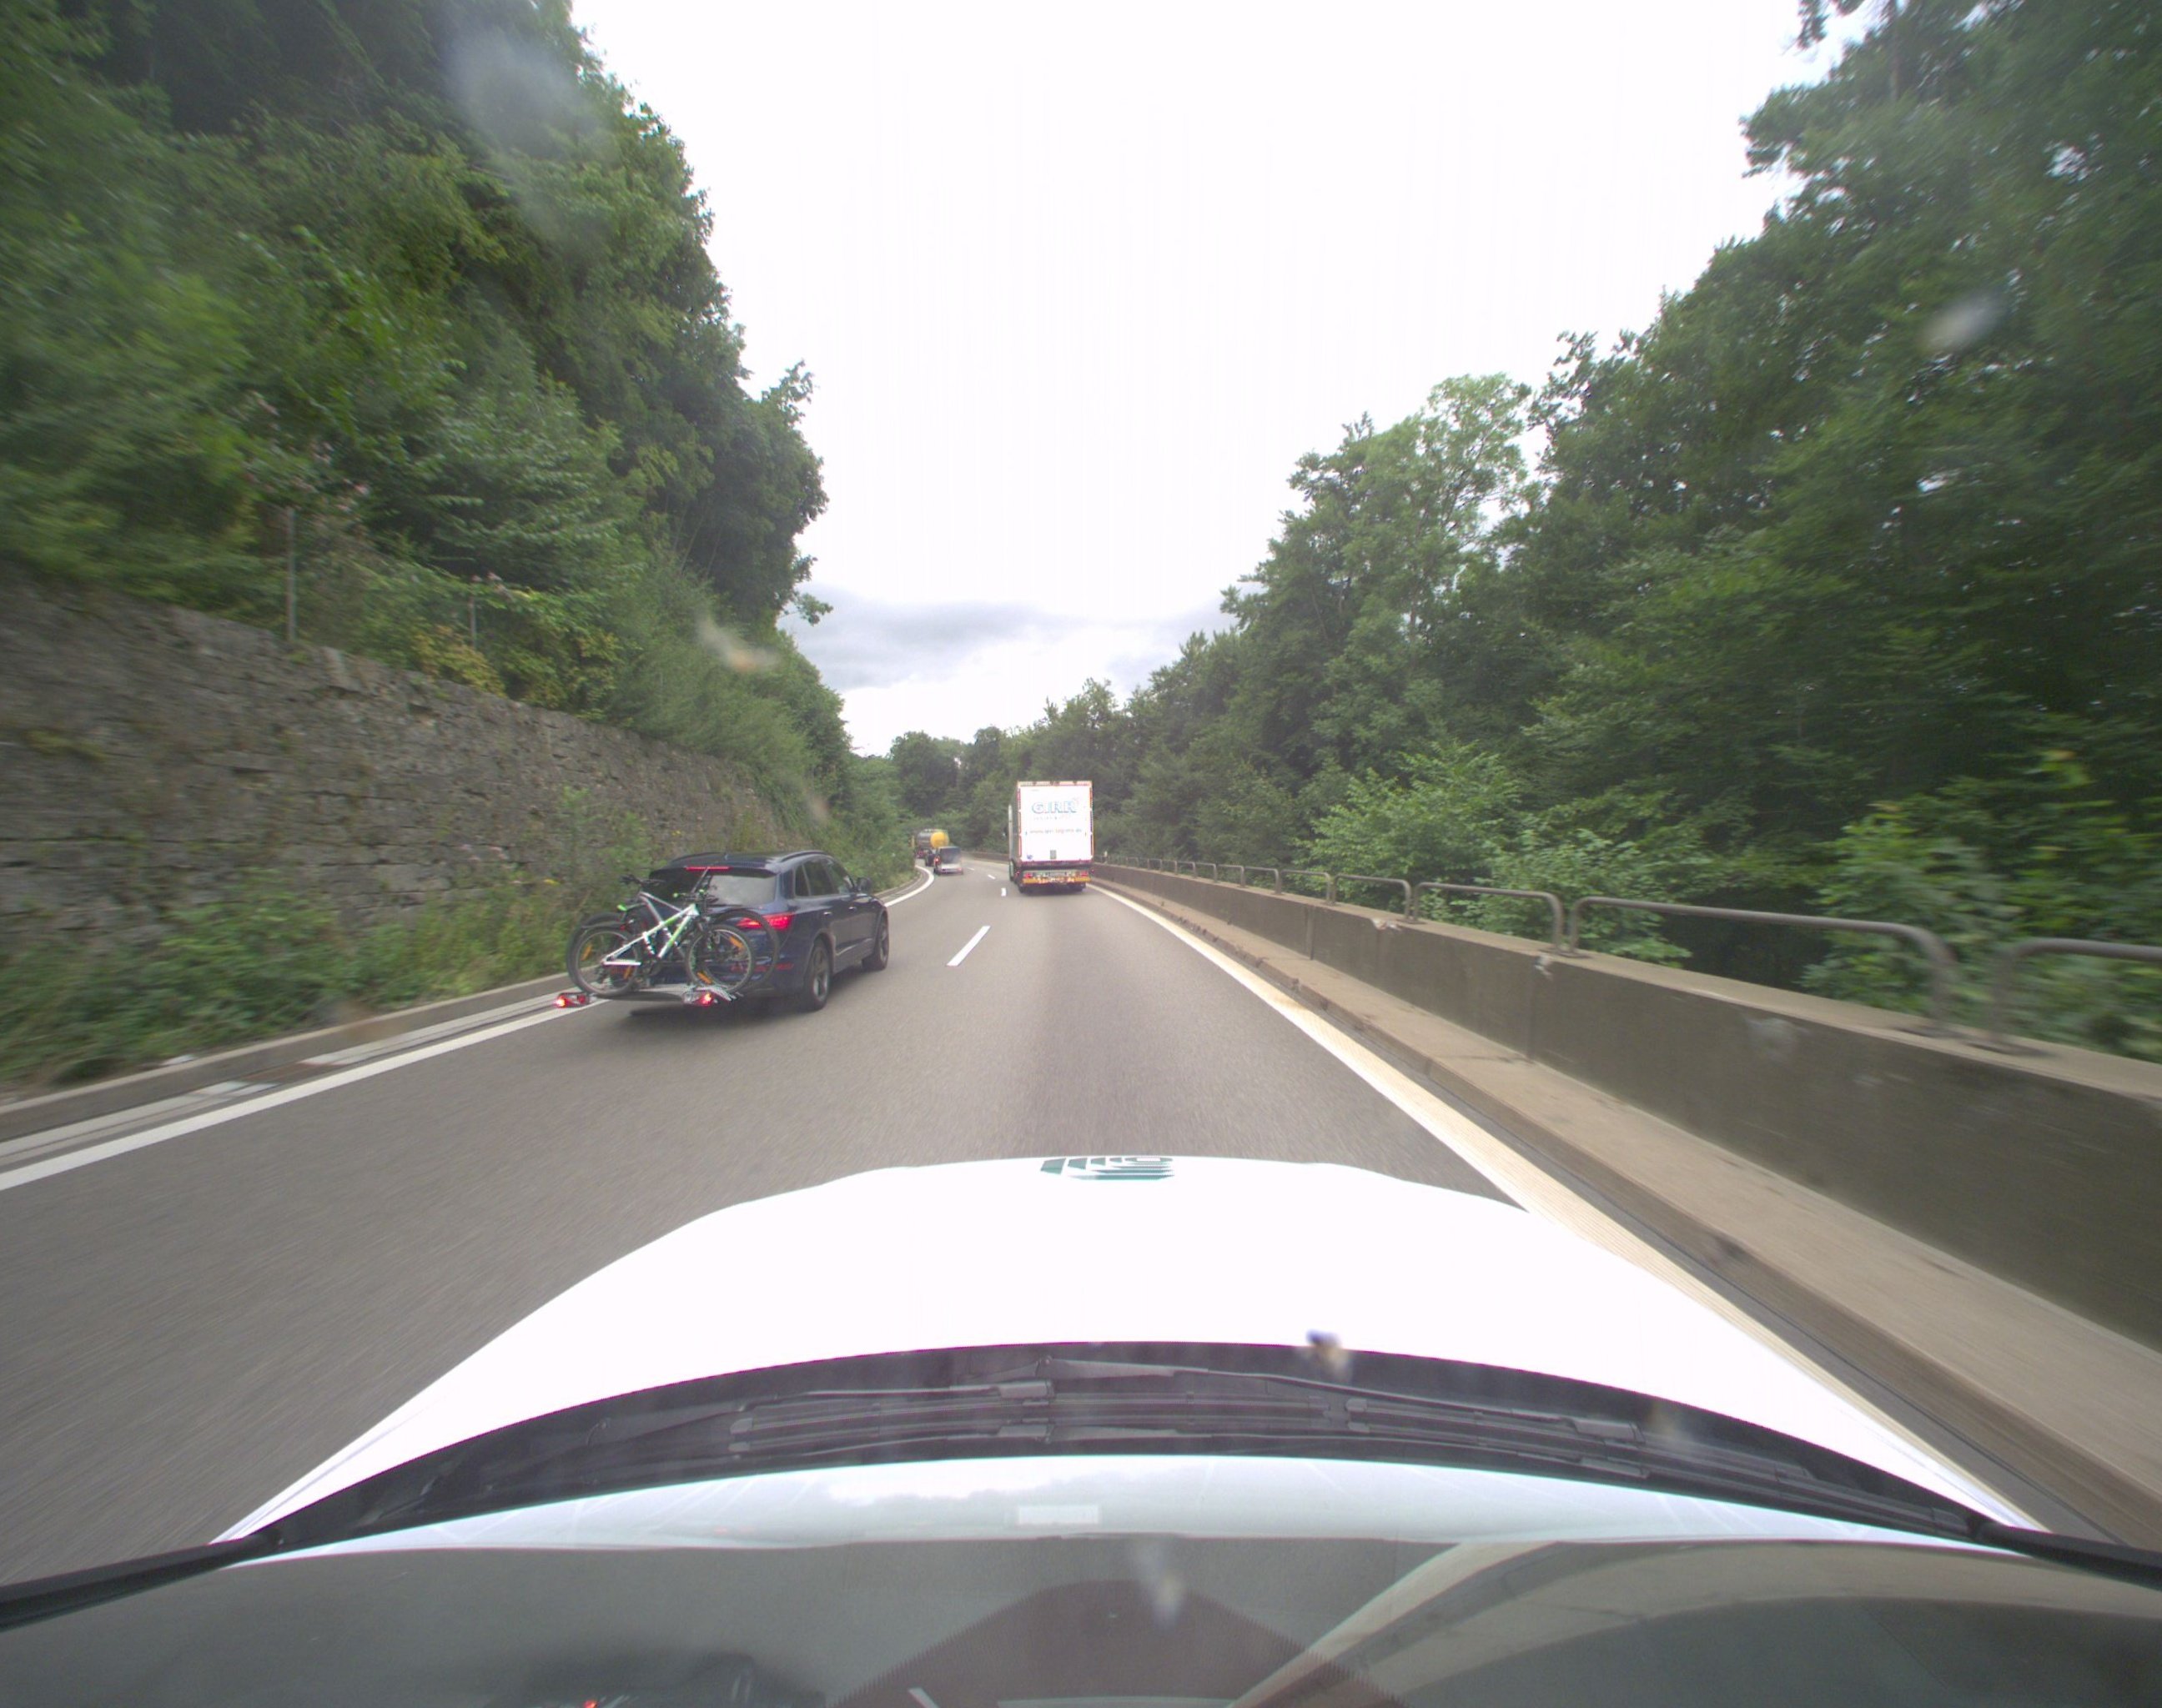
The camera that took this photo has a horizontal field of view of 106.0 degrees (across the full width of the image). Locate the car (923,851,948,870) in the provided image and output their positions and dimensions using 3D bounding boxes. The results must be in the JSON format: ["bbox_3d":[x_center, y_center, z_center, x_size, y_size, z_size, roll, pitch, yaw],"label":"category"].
[{"bbox_3d":[-13.731,0.571,76.542,1.997,1.717,3.980,-1,0,-15],"label":"car"}]

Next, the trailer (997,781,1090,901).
[{"bbox_3d":[-1.841,-0.614,33.638,3.053,3.985,12.114,2,2,-6],"label":"trailer"}]

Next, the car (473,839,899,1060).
[{"bbox_3d":[-3.554,0.756,8.866,1.966,1.593,5.581,2,-1,-2],"label":"car"}]

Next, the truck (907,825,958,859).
[{"bbox_3d":[-19.195,-1.388,104.088,3.072,3.986,13.585,-1,0,-25],"label":"truck"}]

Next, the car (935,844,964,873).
[{"bbox_3d":[-9.683,0.335,59.853,1.993,2.014,5.522,0,-1,-9],"label":"car"}]

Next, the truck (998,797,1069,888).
[{"bbox_3d":[-2.476,-0.597,40.034,3.053,3.985,7.174,2,1,-6],"label":"truck"}]

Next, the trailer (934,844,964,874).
[{"bbox_3d":[-8.955,0.330,55.440,1.970,1.939,3.419,0,-1,-9],"label":"trailer"}]
